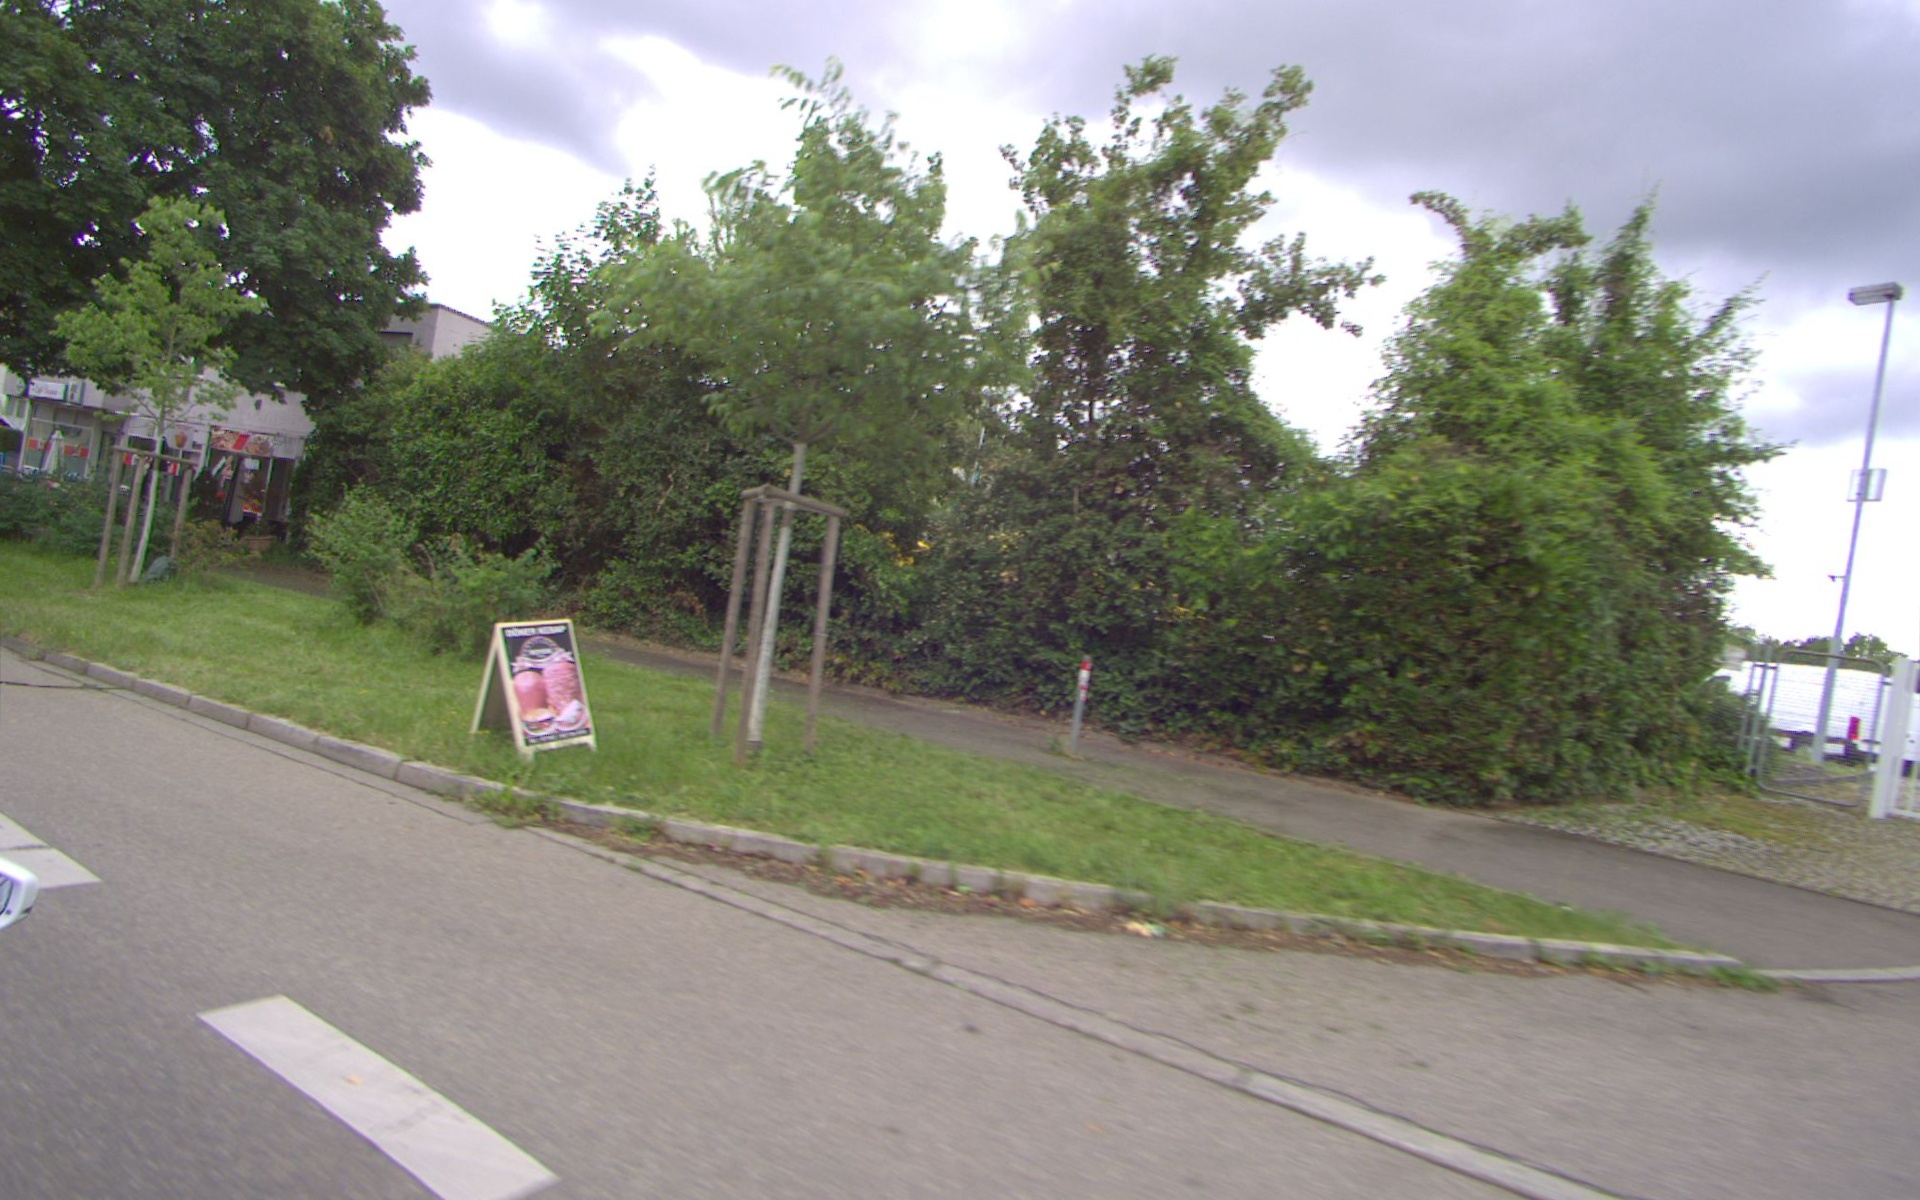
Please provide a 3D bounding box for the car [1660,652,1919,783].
[{"bbox_3d":[23.717,3.225,28.935,2.228,2.709,5.432,9,0,-14],"label":"car"}]

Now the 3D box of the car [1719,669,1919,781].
[{"bbox_3d":[28.613,4.020,33.173,2.225,2.709,5.440,9,0,-8],"label":"car"}]
